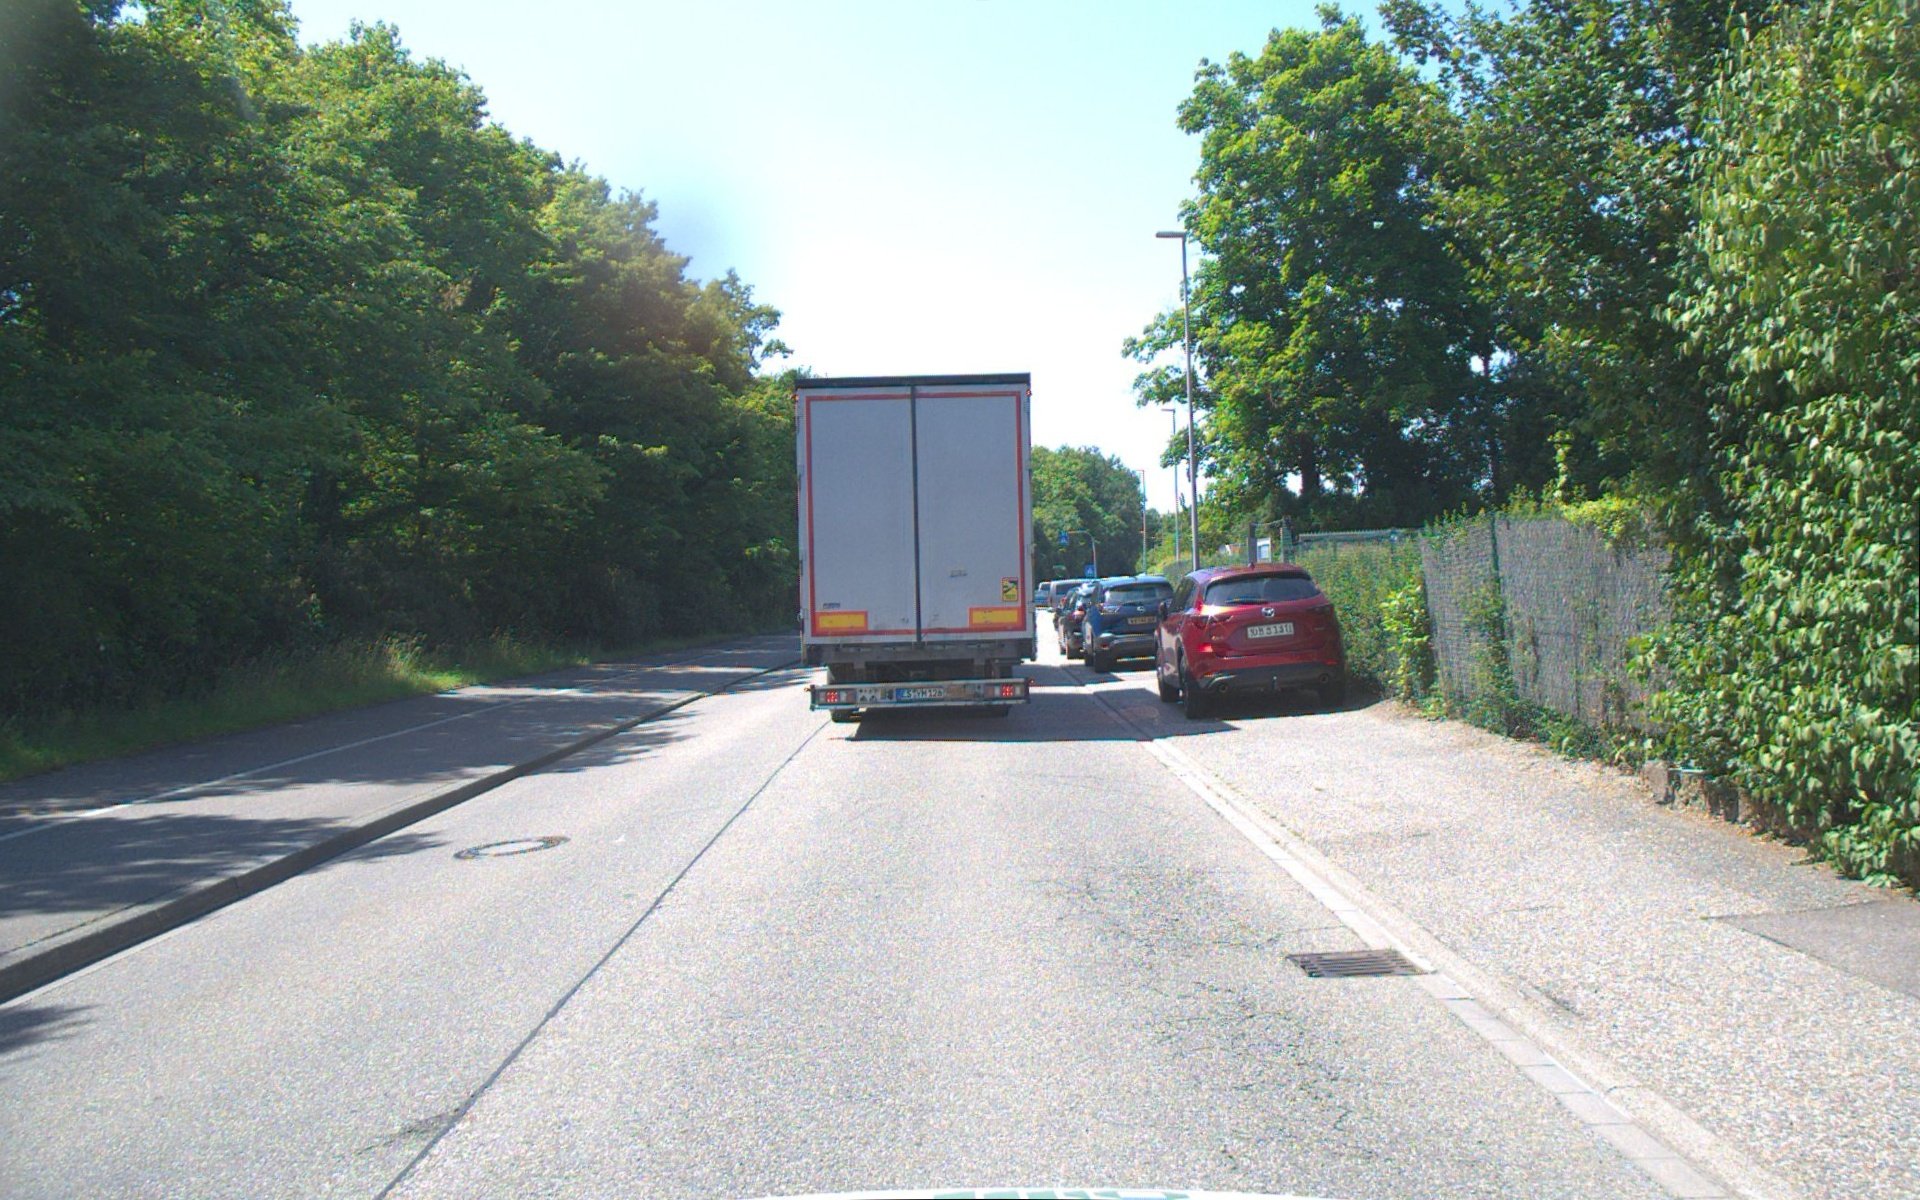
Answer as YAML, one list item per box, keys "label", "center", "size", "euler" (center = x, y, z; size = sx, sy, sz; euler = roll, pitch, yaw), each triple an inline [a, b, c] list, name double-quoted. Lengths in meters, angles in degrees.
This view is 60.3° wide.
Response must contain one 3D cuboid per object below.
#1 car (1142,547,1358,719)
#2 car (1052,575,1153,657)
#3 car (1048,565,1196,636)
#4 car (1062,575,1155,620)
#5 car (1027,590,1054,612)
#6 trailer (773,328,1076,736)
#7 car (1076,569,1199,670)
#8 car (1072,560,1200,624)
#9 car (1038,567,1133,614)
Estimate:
- label: "car"
  center: [3.394, 0.337, 20.177]
  size: [1.753, 1.686, 4.453]
  euler: [-6, 1, 1]
- label: "car"
  center: [3.064, 0.309, 36.502]
  size: [1.753, 1.507, 4.665]
  euler: [-6, 1, 1]
- label: "car"
  center: [5.082, -0.007, 52.319]
  size: [4.380, 1.733, 1.914]
  euler: [-6, 0, 0]
- label: "car"
  center: [6.384, -0.106, 71.505]
  size: [3.839, 1.503, 1.846]
  euler: [-6, 0, 3]
- label: "car"
  center: [6.021, 0.079, 123.430]
  size: [1.743, 1.512, 4.003]
  euler: [-2, 1, 6]
- label: "trailer"
  center: [-0.466, -0.744, 22.995]
  size: [3.049, 4.174, 11.534]
  euler: [-2, 0, -1]
- label: "car"
  center: [3.182, 0.294, 30.359]
  size: [1.753, 1.631, 4.130]
  euler: [-4, 1, 0]
- label: "car"
  center: [6.046, -0.275, 57.139]
  size: [4.170, 1.727, 1.854]
  euler: [-6, 0, 4]
- label: "car"
  center: [6.318, -0.491, 83.254]
  size: [4.526, 1.879, 1.997]
  euler: [-6, 0, 4]
